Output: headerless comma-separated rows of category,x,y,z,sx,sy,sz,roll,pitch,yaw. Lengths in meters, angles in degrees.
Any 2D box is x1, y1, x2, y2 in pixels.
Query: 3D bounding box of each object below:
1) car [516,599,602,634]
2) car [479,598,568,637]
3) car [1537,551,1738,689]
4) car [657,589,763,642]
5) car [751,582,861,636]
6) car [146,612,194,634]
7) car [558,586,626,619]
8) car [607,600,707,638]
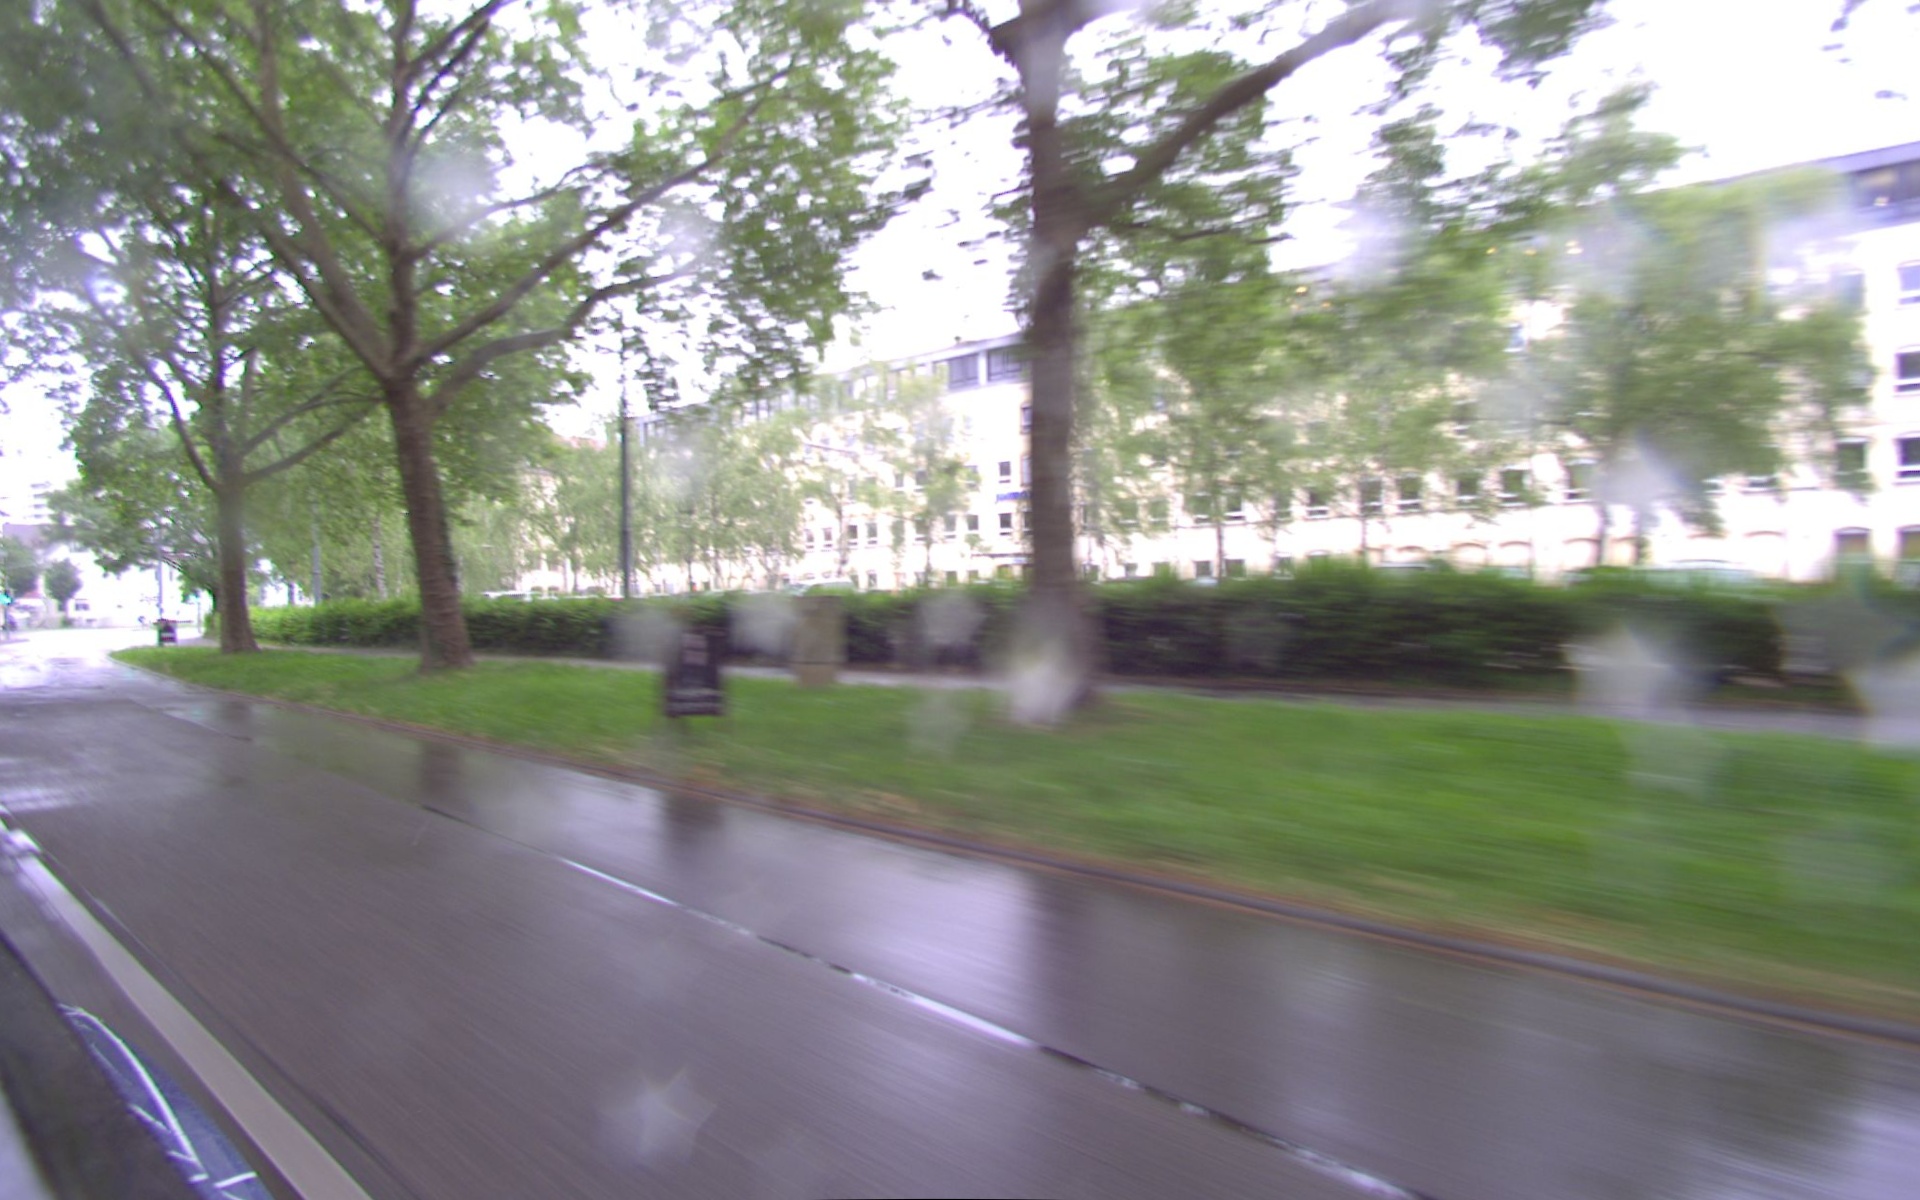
car,-20.816,0.855,52.610,1.716,1.611,3.771,-2,1,38
car,-23.489,0.927,54.540,1.852,1.846,3.950,-2,1,37
car,9.444,0.316,13.971,1.997,1.606,3.949,-2,-3,38
car,-10.700,0.655,43.456,2.000,2.149,3.944,-2,-1,42
car,-6.082,0.368,40.225,1.999,2.029,3.945,-2,-1,41
car,-88.753,2.589,113.767,2.161,2.272,4.894,-2,0,-9
car,-38.832,0.203,106.984,2.835,3.217,6.137,-2,1,38
car,-13.864,0.836,46.407,1.886,1.562,3.943,-1,1,43
